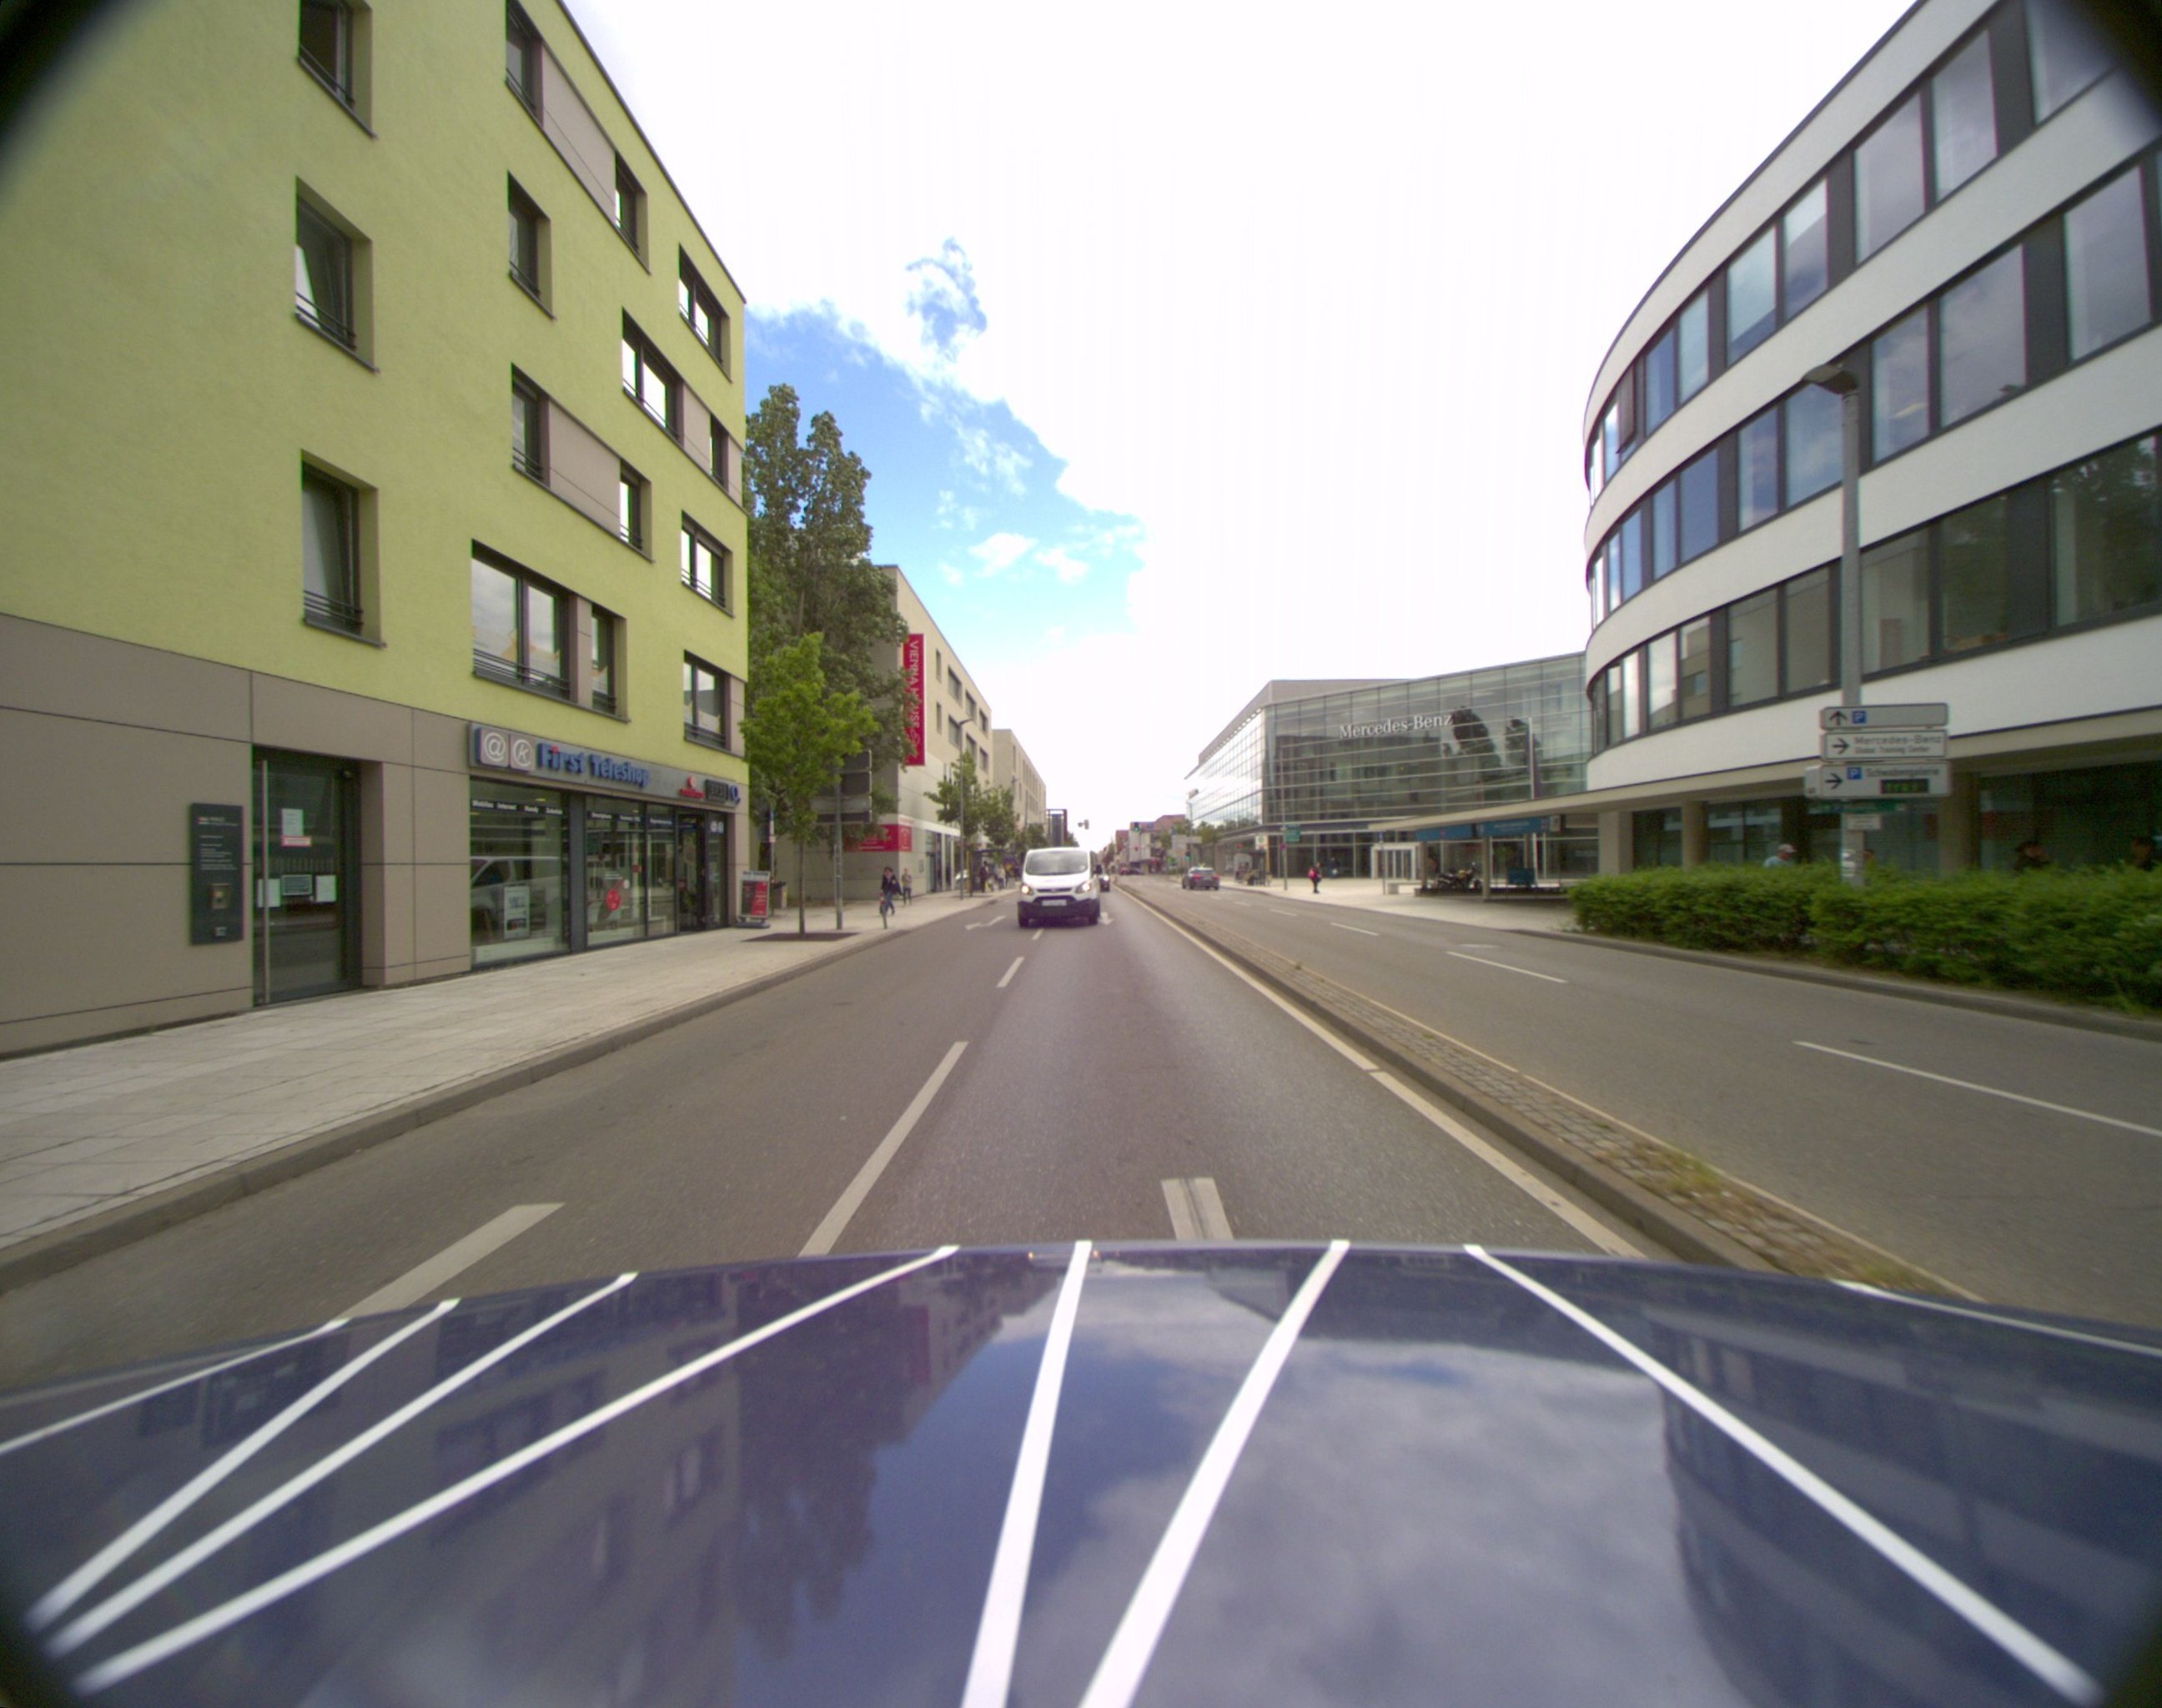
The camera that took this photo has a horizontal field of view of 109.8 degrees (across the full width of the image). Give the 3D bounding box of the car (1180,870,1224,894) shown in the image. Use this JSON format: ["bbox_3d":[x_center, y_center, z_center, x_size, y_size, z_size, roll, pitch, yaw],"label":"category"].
[{"bbox_3d":[7.811,1.783,49.374,1.902,1.407,4.470,0,-1,-3],"label":"car"}]

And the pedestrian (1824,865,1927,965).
[{"bbox_3d":[13.394,1.003,12.837,0.732,1.603,0.931,-2,0,3],"label":"pedestrian"}]

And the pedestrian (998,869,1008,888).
[{"bbox_3d":[-6.668,2.074,64.659,0.746,1.659,0.614,0,0,1],"label":"pedestrian"}]

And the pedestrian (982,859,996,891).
[{"bbox_3d":[-5.222,1.188,43.217,0.580,1.759,0.857,1,0,6],"label":"pedestrian"}]

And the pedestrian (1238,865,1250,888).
[{"bbox_3d":[11.882,1.647,55.358,0.688,1.621,0.574,1,0,-40],"label":"pedestrian"}]

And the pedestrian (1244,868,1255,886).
[{"bbox_3d":[12.154,1.660,54.731,0.686,1.246,0.576,0,0,0],"label":"pedestrian"}]

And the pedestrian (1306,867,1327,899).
[{"bbox_3d":[11.874,1.469,38.377,0.832,1.558,0.813,-2,0,6],"label":"pedestrian"}]

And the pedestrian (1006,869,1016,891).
[{"bbox_3d":[-5.251,1.924,57.010,0.656,1.659,0.614,0,0,1],"label":"pedestrian"}]

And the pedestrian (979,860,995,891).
[{"bbox_3d":[-5.170,1.195,41.980,0.722,1.673,0.733,1,0,6],"label":"pedestrian"}]

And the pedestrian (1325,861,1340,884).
[{"bbox_3d":[22.036,1.626,66.575,0.904,1.934,0.748,-1,0,-38],"label":"pedestrian"}]

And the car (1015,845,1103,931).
[{"bbox_3d":[-0.488,0.842,20.569,2.000,1.975,5.001,-2,-1,1],"label":"car"}]

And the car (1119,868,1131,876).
[{"bbox_3d":[8.512,3.463,147.592,1.803,1.458,3.999,0,-1,-5],"label":"car"}]

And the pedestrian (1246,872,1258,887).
[{"bbox_3d":[12.157,1.813,54.119,0.686,1.069,0.576,2,0,0],"label":"pedestrian"}]

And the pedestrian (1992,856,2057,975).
[{"bbox_3d":[13.910,0.886,11.209,0.616,1.699,0.505,0,0,-29],"label":"pedestrian"}]

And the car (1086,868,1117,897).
[{"bbox_3d":[1.277,1.678,45.952,1.691,1.550,4.746,-2,0,3],"label":"car"}]

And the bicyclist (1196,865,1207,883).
[{"bbox_3d":[12.123,2.022,76.546,0.749,1.789,0.772,-2,-1,-45],"label":"bicyclist"}]

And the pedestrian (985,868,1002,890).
[{"bbox_3d":[-5.106,1.462,44.336,0.945,1.251,0.732,1,0,-2],"label":"pedestrian"}]

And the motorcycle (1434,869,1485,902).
[{"bbox_3d":[16.424,1.352,32.980,1.858,1.325,0.636,-2,0,5],"label":"motorcycle"}]

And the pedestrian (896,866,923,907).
[{"bbox_3d":[-6.780,1.281,30.079,0.871,1.574,0.804,0,0,0],"label":"pedestrian"}]

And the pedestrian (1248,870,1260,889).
[{"bbox_3d":[12.143,1.823,53.448,0.686,1.312,0.576,1,0,0],"label":"pedestrian"}]

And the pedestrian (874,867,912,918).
[{"bbox_3d":[-6.025,1.223,24.441,0.949,1.574,1.016,0,0,0],"label":"pedestrian"}]

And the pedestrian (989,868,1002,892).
[{"bbox_3d":[-5.741,1.741,51.047,0.742,1.598,0.715,0,0,1],"label":"pedestrian"}]

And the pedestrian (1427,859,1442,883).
[{"bbox_3d":[28.277,1.360,60.756,0.687,1.934,0.749,-1,0,-12],"label":"pedestrian"}]

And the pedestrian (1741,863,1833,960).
[{"bbox_3d":[12.601,1.002,13.594,0.732,1.664,0.931,-2,0,3],"label":"pedestrian"}]

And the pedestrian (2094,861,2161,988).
[{"bbox_3d":[14.734,0.956,10.622,0.505,1.719,0.616,0,0,32],"label":"pedestrian"}]

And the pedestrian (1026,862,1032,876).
[{"bbox_3d":[-6.226,1.794,91.089,0.590,1.558,0.732,1,-1,1],"label":"pedestrian"}]

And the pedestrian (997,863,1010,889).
[{"bbox_3d":[-4.676,1.309,45.927,0.580,1.581,0.733,1,0,6],"label":"pedestrian"}]
